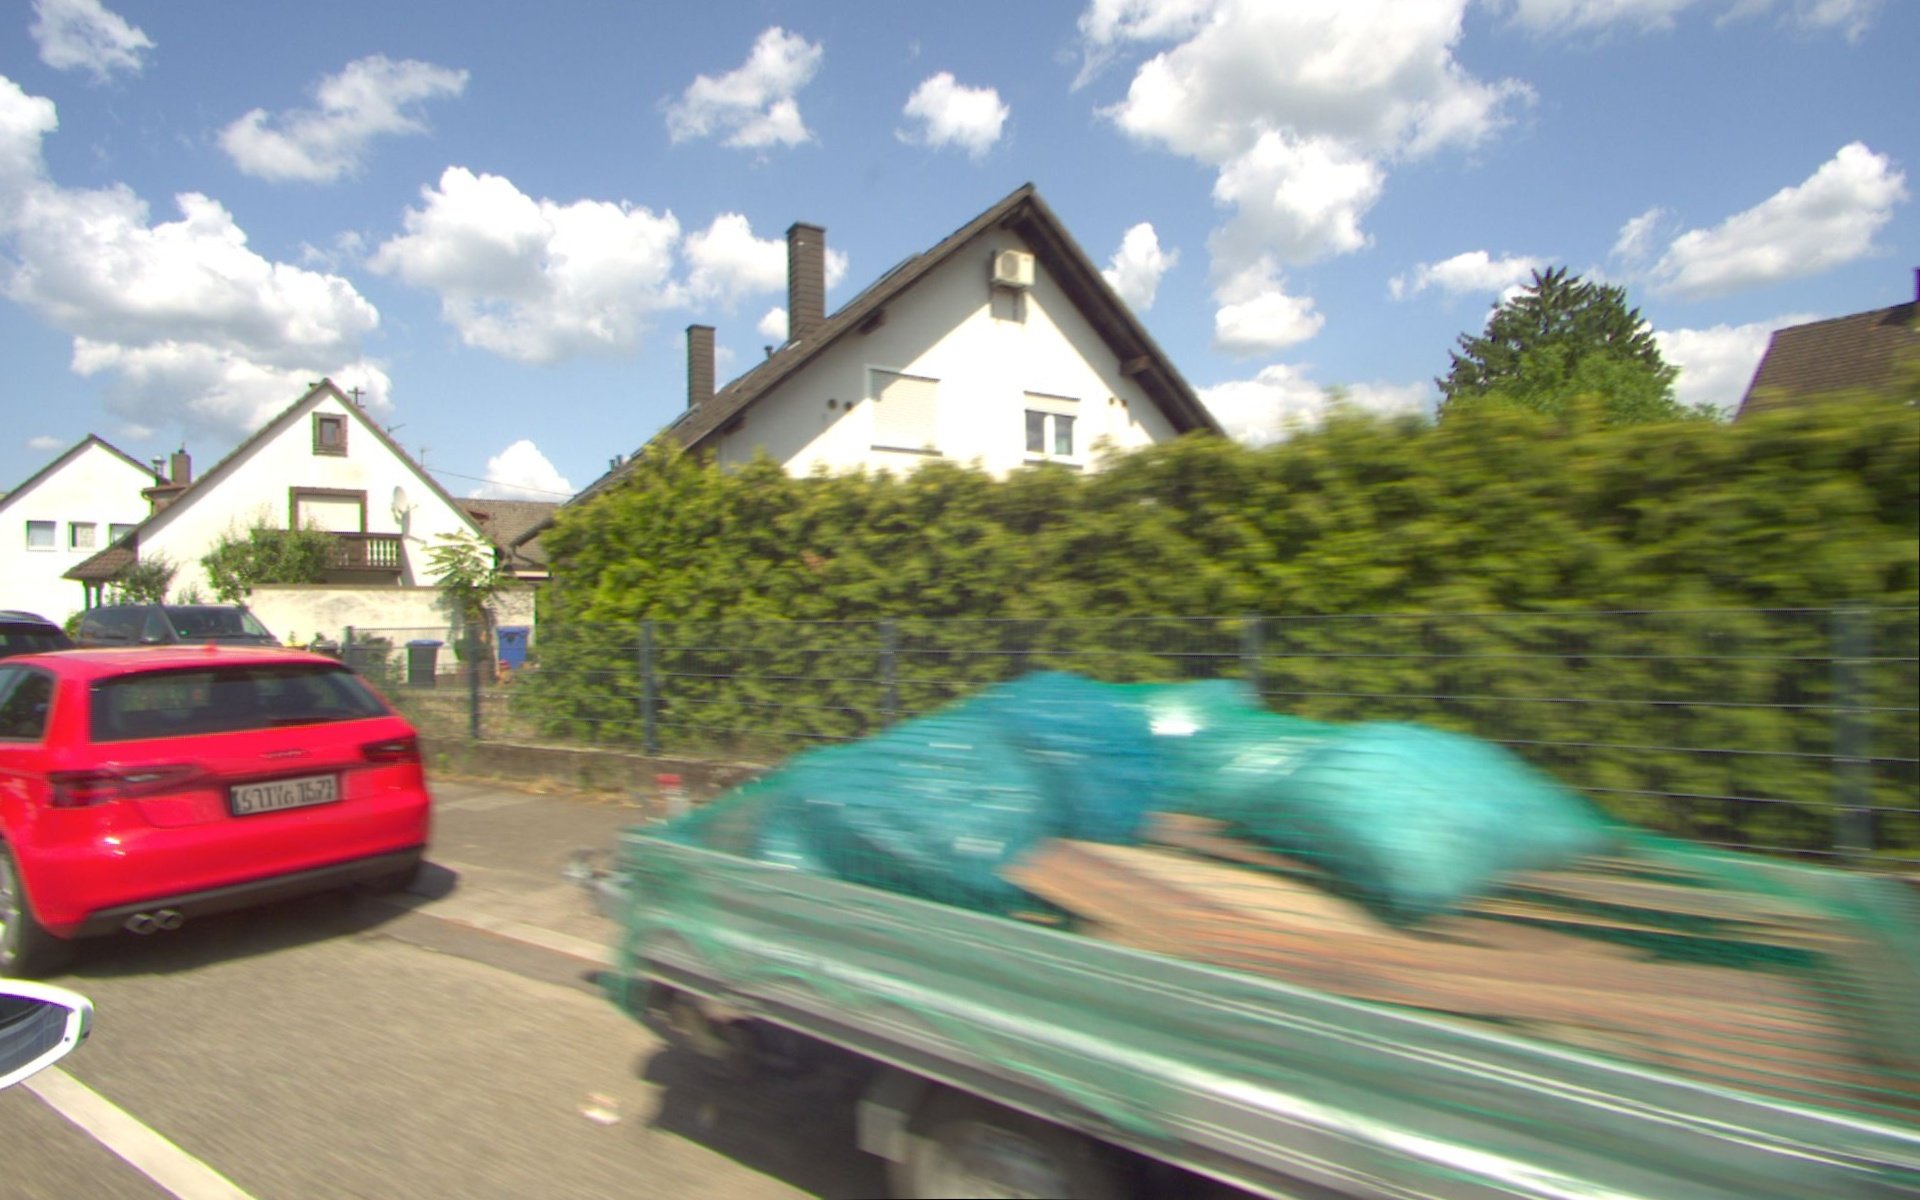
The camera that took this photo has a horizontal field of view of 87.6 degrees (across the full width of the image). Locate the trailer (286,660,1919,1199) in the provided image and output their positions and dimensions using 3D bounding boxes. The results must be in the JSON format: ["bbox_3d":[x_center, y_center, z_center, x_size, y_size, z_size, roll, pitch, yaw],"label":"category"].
[{"bbox_3d":[-0.077,0.926,2.939,4.371,1.395,1.605,-1,-2,33],"label":"trailer"}]

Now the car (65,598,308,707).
[{"bbox_3d":[-14.921,0.955,19.256,4.943,1.890,1.855,-1,-1,28],"label":"car"}]

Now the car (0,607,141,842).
[{"bbox_3d":[-8.796,0.932,8.334,4.490,1.683,1.826,-1,-1,33],"label":"car"}]

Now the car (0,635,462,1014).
[{"bbox_3d":[-4.780,0.934,5.730,4.089,1.453,1.681,-1,-2,34],"label":"car"}]
